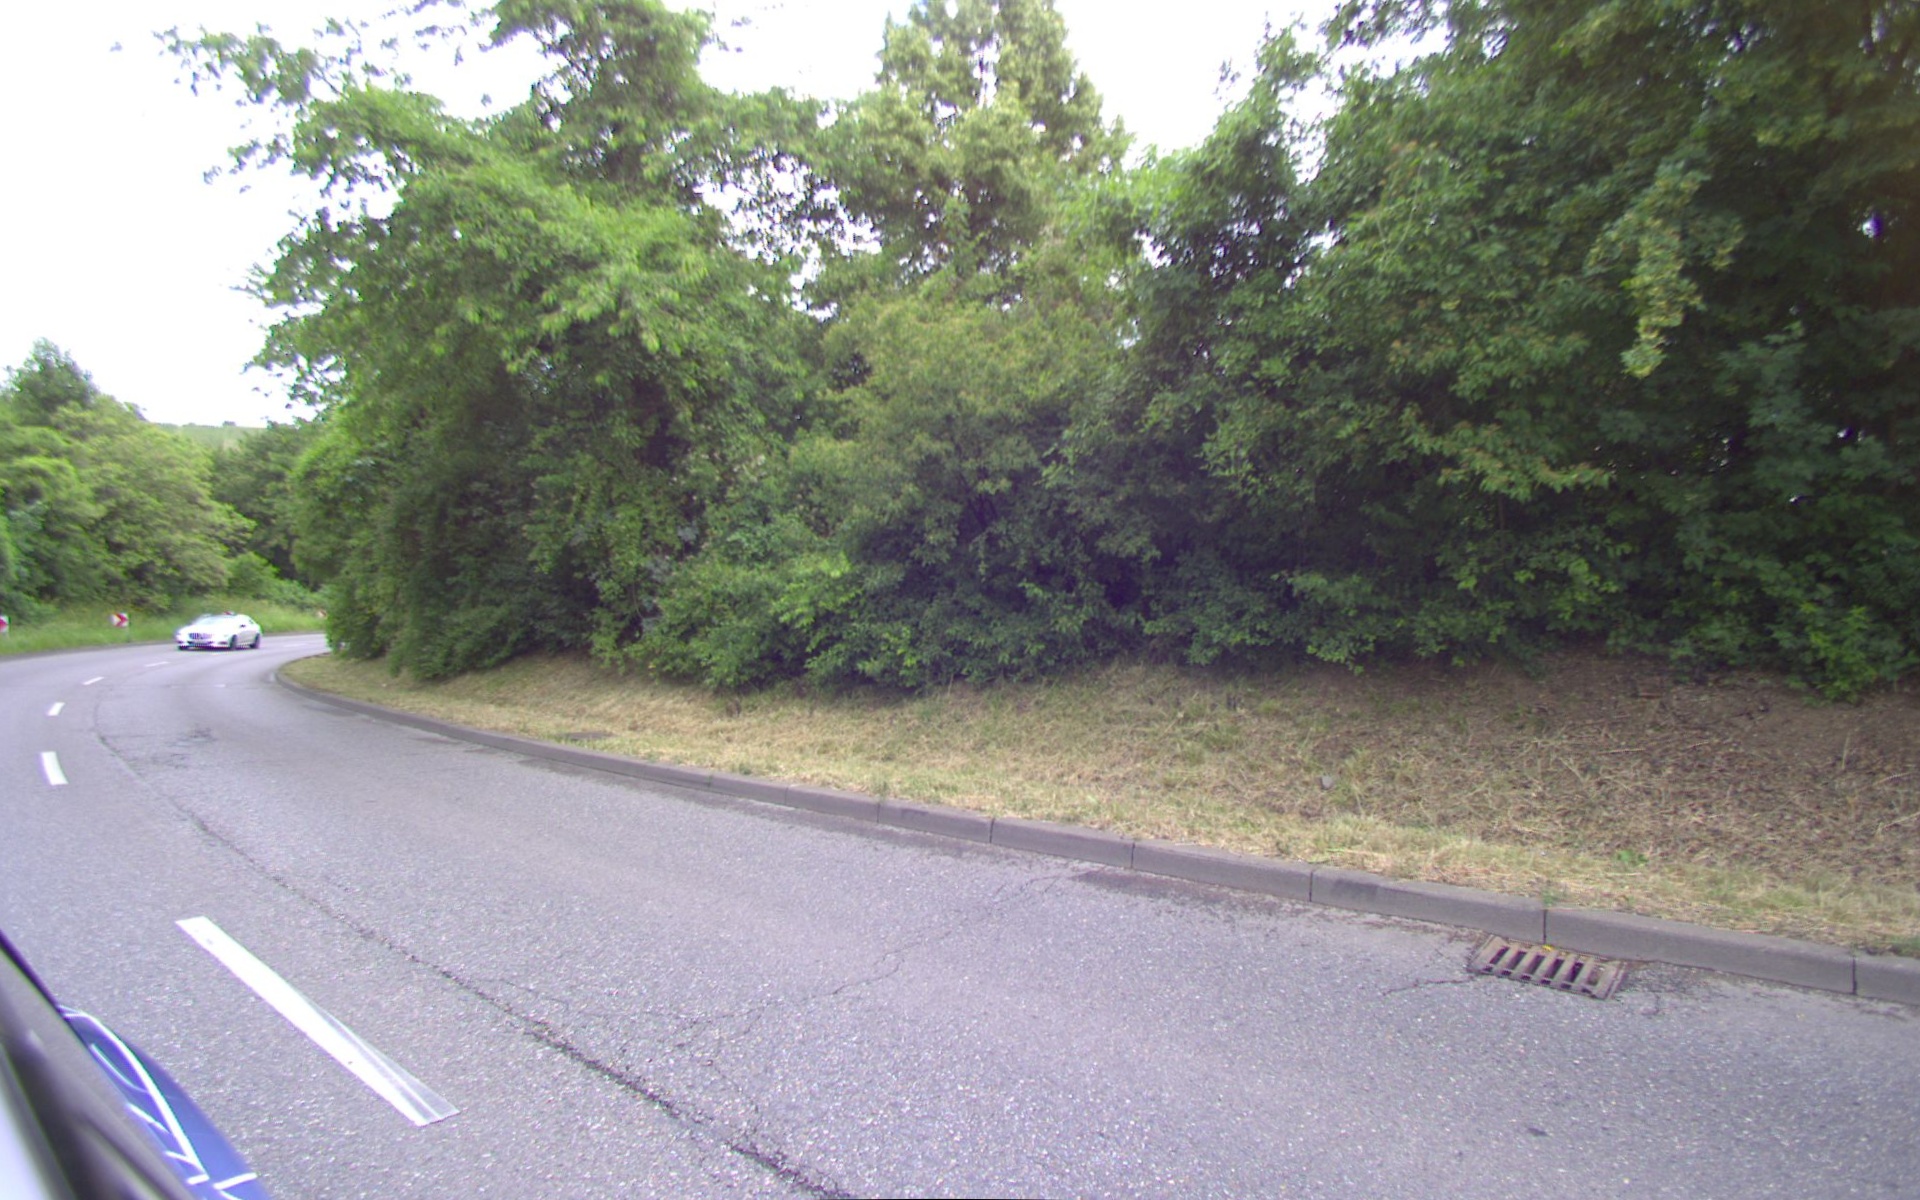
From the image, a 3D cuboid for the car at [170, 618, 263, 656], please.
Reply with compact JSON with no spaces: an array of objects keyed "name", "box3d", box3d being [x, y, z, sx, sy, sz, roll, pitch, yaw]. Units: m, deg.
[{"name":"car","box3d":[-30.631,1.497,41.823,1.836,1.442,4.369,2,-2,-19]}]
